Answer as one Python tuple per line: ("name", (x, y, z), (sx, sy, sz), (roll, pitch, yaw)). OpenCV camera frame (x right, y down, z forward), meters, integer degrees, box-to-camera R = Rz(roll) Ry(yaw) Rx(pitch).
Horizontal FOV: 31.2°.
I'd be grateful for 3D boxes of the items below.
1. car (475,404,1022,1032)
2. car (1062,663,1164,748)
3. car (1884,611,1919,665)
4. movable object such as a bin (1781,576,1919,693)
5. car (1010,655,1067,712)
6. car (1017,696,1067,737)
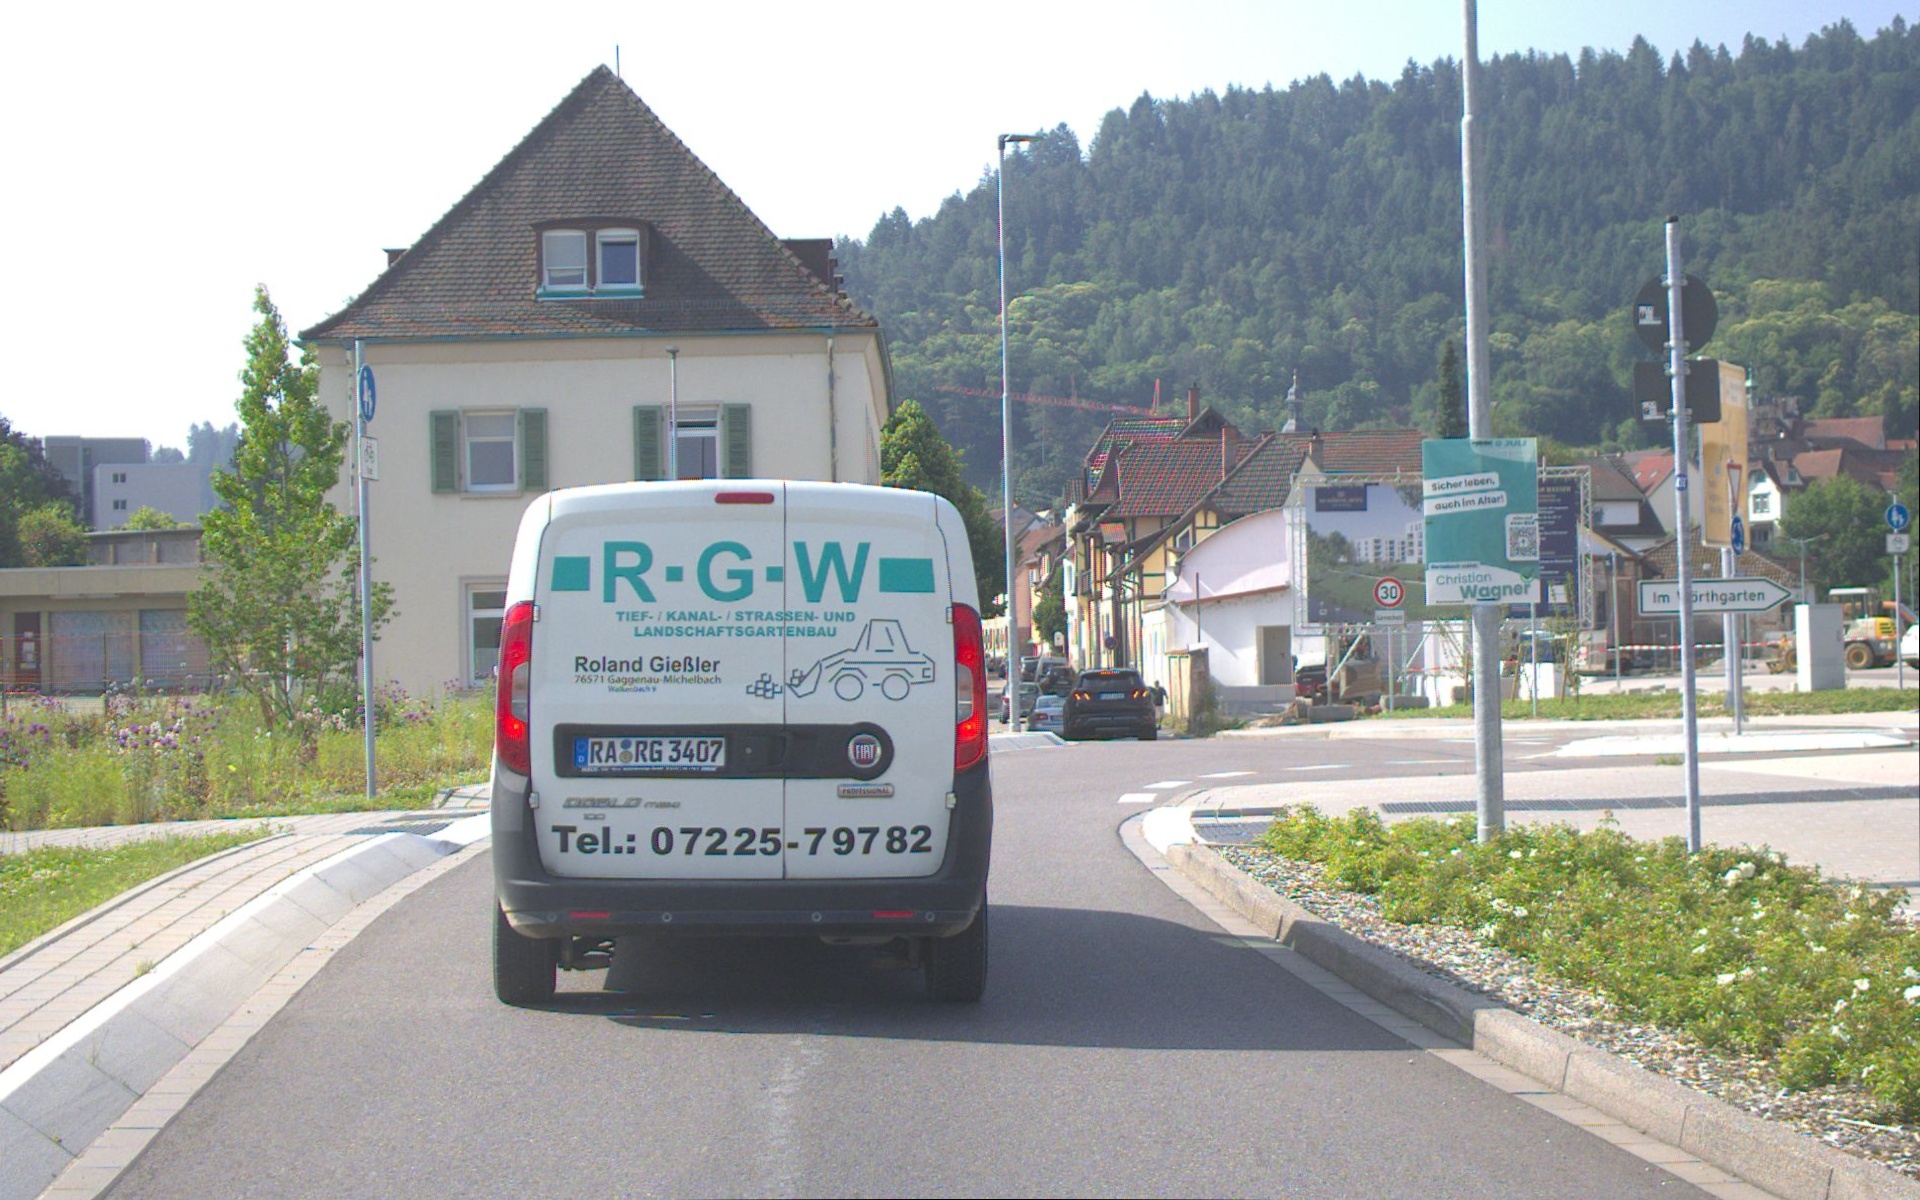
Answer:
("car", (-0.924, 0.381, 13.713), (1.806, 2.071, 4.605), (0, 0, -6))
("car", (3.261, 2.200, 72.682), (1.881, 1.678, 3.999), (-2, -1, 6))
("car", (24.534, 0.888, 84.031), (3.475, 1.299, 1.468), (-2, 0, 2))
("movable object such as a bin", (15.011, 0.571, 57.214), (2.444, 1.838, 1.428), (-2, -1, 9))
("car", (2.931, 3.078, 127.562), (1.993, 2.007, 3.999), (-2, -1, 2))
("car", (2.208, 3.144, 93.045), (1.306, 1.000, 3.090), (-2, -1, 1))
